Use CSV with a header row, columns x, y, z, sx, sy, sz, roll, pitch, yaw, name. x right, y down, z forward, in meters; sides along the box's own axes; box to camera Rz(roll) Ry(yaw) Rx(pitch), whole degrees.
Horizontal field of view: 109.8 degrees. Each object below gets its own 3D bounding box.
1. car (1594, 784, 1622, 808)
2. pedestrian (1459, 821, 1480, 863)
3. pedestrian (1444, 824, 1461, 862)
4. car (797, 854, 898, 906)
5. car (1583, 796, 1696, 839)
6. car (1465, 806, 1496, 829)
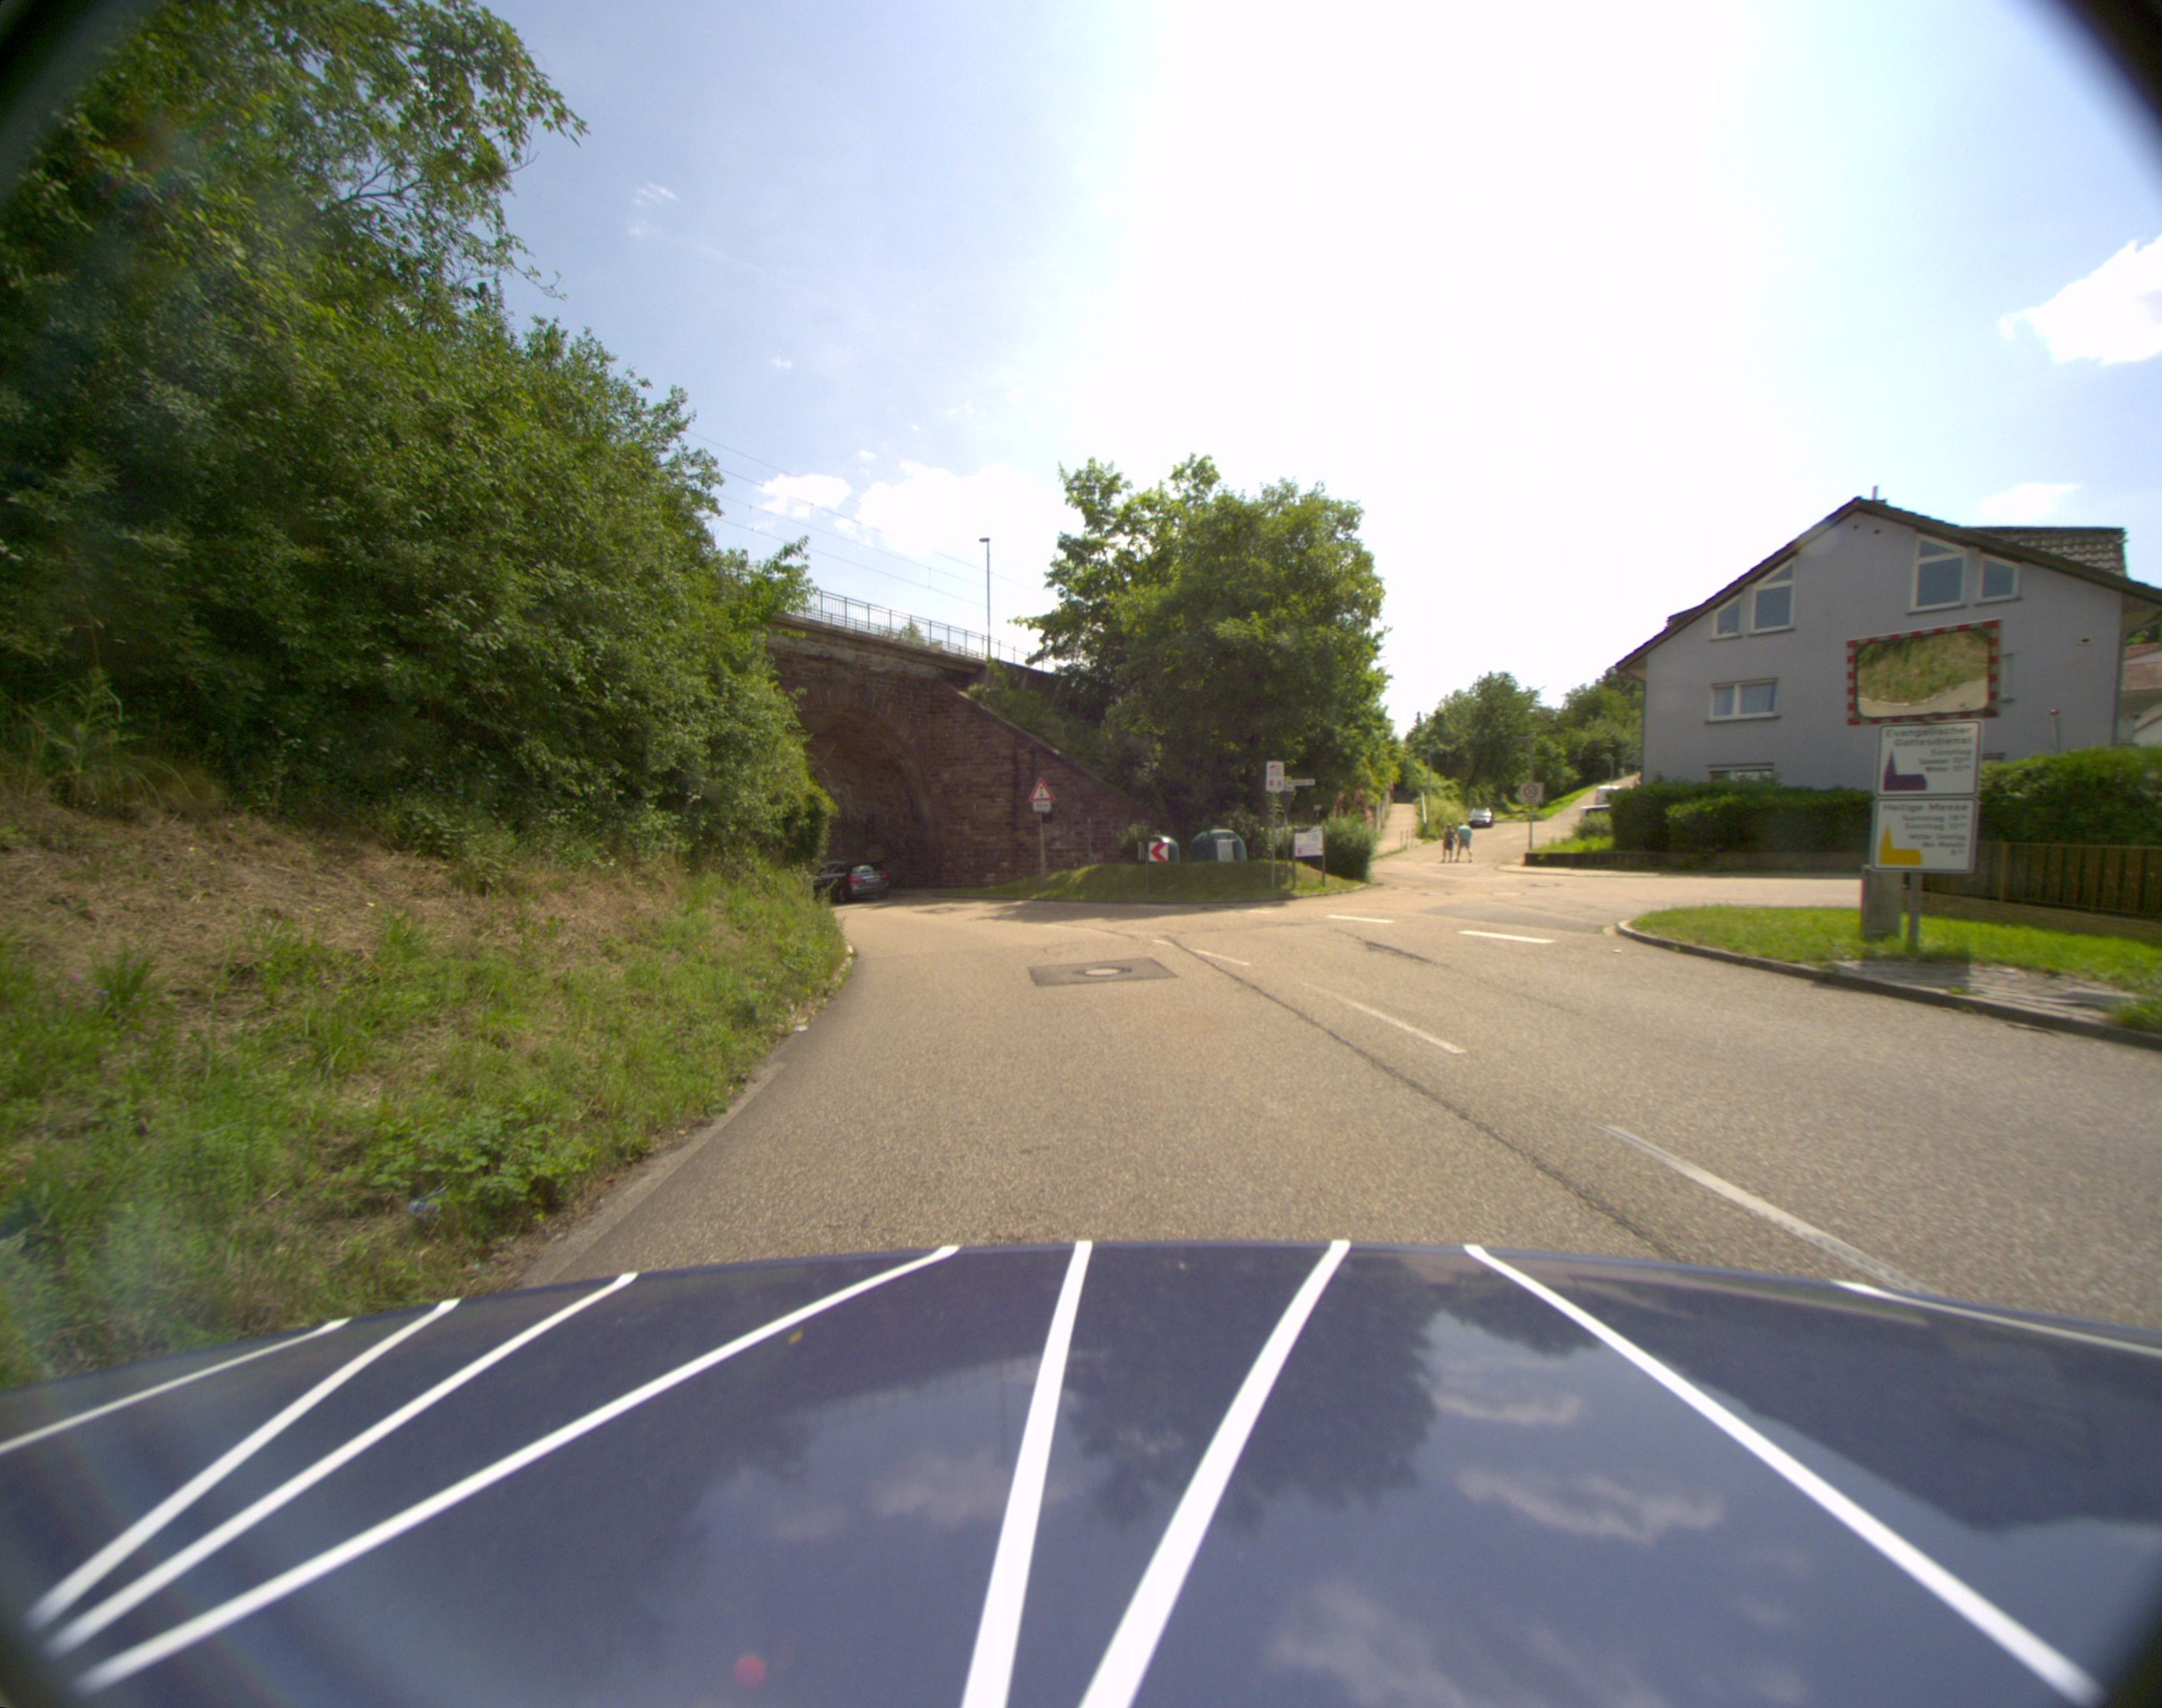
x,y,z,sx,sy,sz,roll,pitch,yaw,name
49.952,-5.491,72.034,1.995,2.002,4.720,-2,1,35,car
16.150,-0.509,31.590,0.686,1.703,0.791,-3,2,25,pedestrian
15.326,-0.456,31.354,0.573,1.546,0.600,-3,2,25,pedestrian
-8.910,0.917,28.829,4.116,1.548,1.726,2,9,44,car
30.399,-1.961,41.459,4.699,2.002,2.004,-2,1,44,car
31.968,-2.878,60.721,1.851,1.633,4.399,-2,1,31,car
